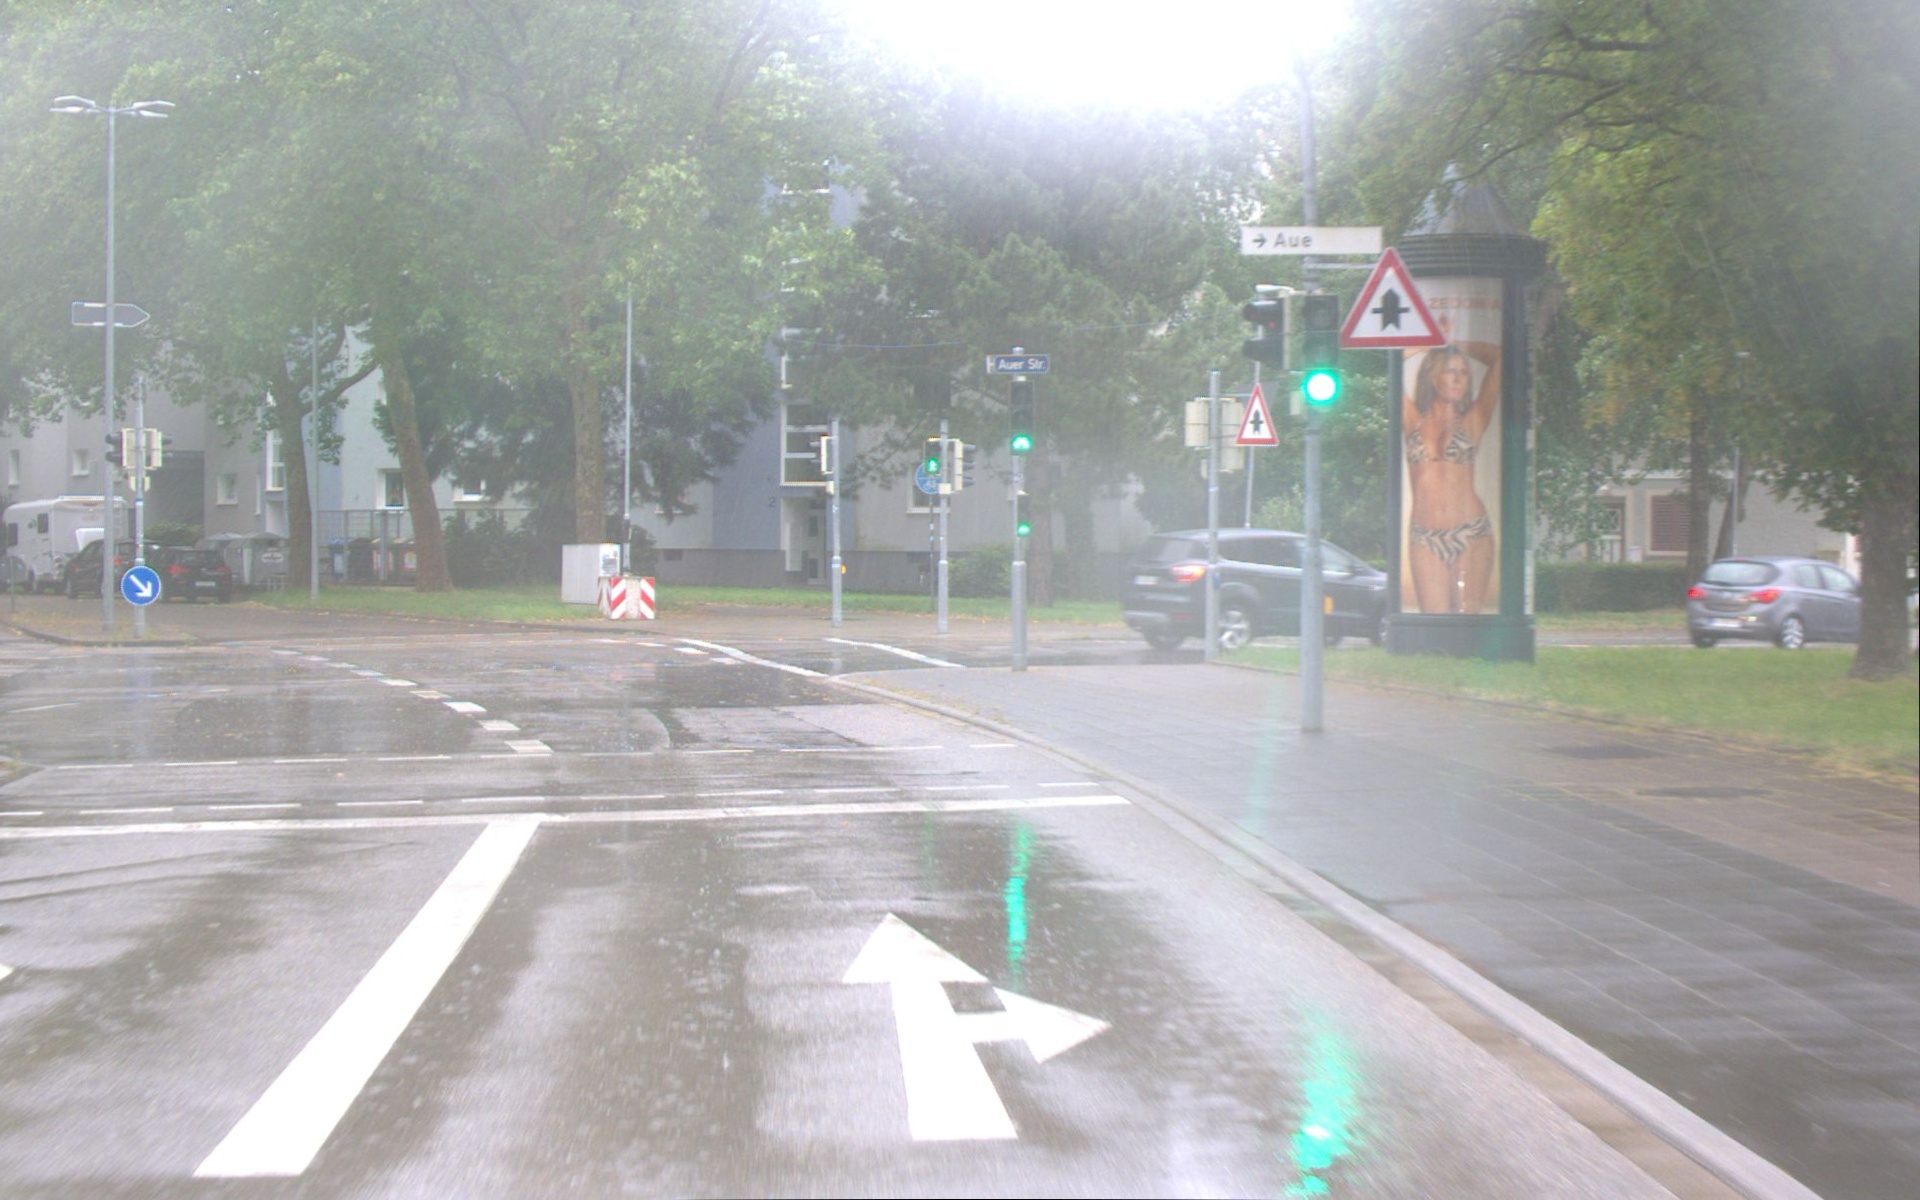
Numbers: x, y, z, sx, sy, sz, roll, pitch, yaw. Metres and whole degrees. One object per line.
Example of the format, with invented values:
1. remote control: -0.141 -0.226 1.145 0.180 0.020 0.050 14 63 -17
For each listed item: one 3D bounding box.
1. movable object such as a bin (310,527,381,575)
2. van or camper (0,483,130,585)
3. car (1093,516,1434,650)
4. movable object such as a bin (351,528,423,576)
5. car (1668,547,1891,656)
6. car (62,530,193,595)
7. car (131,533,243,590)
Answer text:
1. movable object such as a bin: -18.920 -1.517 105.870 1.861 1.427 1.214 2 1 40
2. van or camper: -25.927 -1.868 98.291 2.319 2.798 6.864 1 0 -31
3. car: 4.172 -0.231 47.125 4.291 1.738 2.000 1 1 -32
4. movable object such as a bin: -17.432 -1.469 104.631 1.861 1.427 1.214 2 1 40
5. car: 12.721 0.022 53.186 1.997 1.597 4.080 2 1 34
6. car: -22.053 -0.979 90.961 1.916 1.615 4.453 1 -1 -34
7. car: -19.520 -0.984 86.733 1.548 1.385 4.150 1 1 -30
